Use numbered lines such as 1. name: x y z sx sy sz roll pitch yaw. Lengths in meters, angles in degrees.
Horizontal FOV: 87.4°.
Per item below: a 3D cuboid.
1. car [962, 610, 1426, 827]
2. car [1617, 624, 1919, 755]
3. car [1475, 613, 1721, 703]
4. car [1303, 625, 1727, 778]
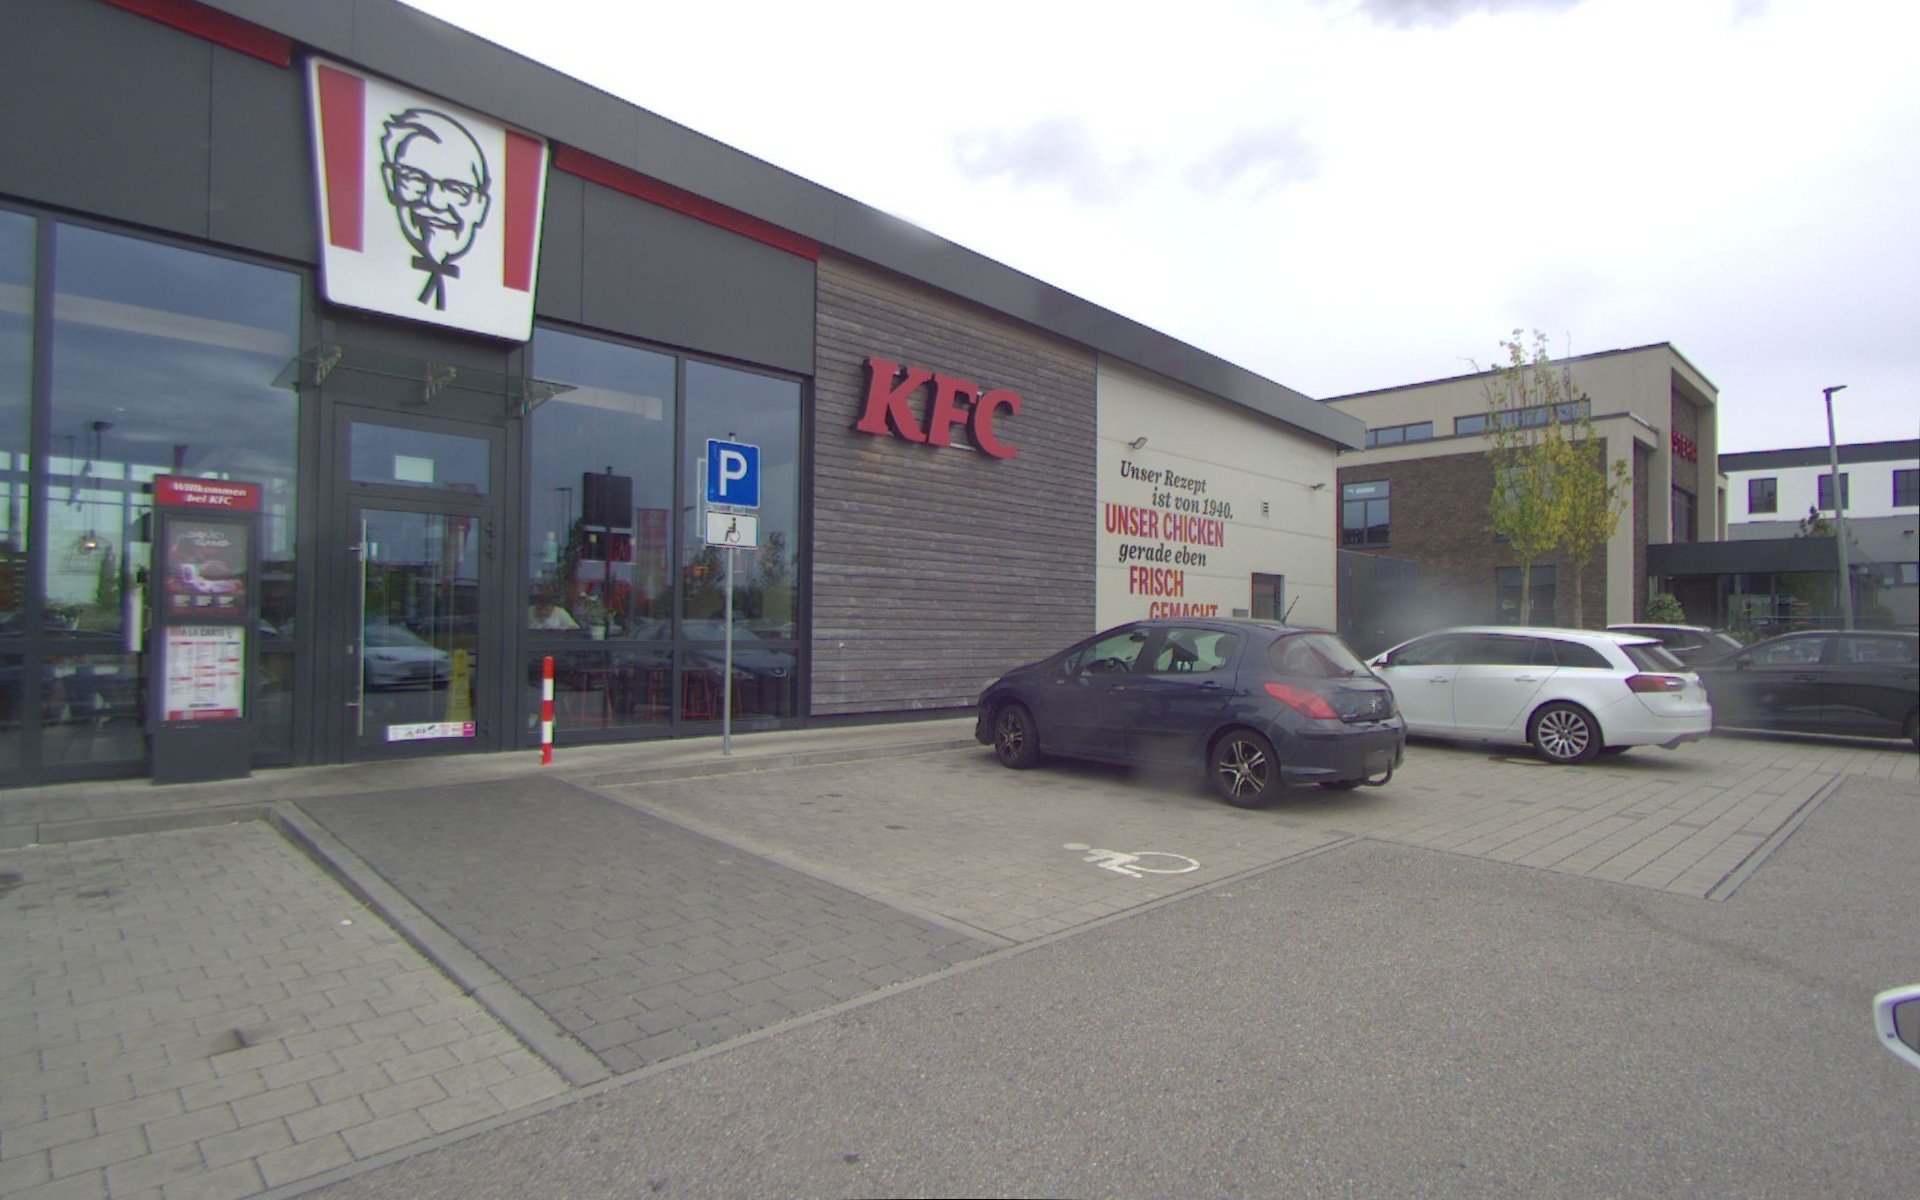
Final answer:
1. car: 1.975 0.887 9.313 1.746 1.507 3.890 1 0 -42
2. car: 11.541 1.140 13.678 1.729 1.548 4.071 2 -1 -43
3. car: 12.593 1.157 19.939 3.939 1.616 1.729 -3 -4 38
4. car: 6.590 1.074 12.251 1.985 1.505 4.128 1 -2 -42
